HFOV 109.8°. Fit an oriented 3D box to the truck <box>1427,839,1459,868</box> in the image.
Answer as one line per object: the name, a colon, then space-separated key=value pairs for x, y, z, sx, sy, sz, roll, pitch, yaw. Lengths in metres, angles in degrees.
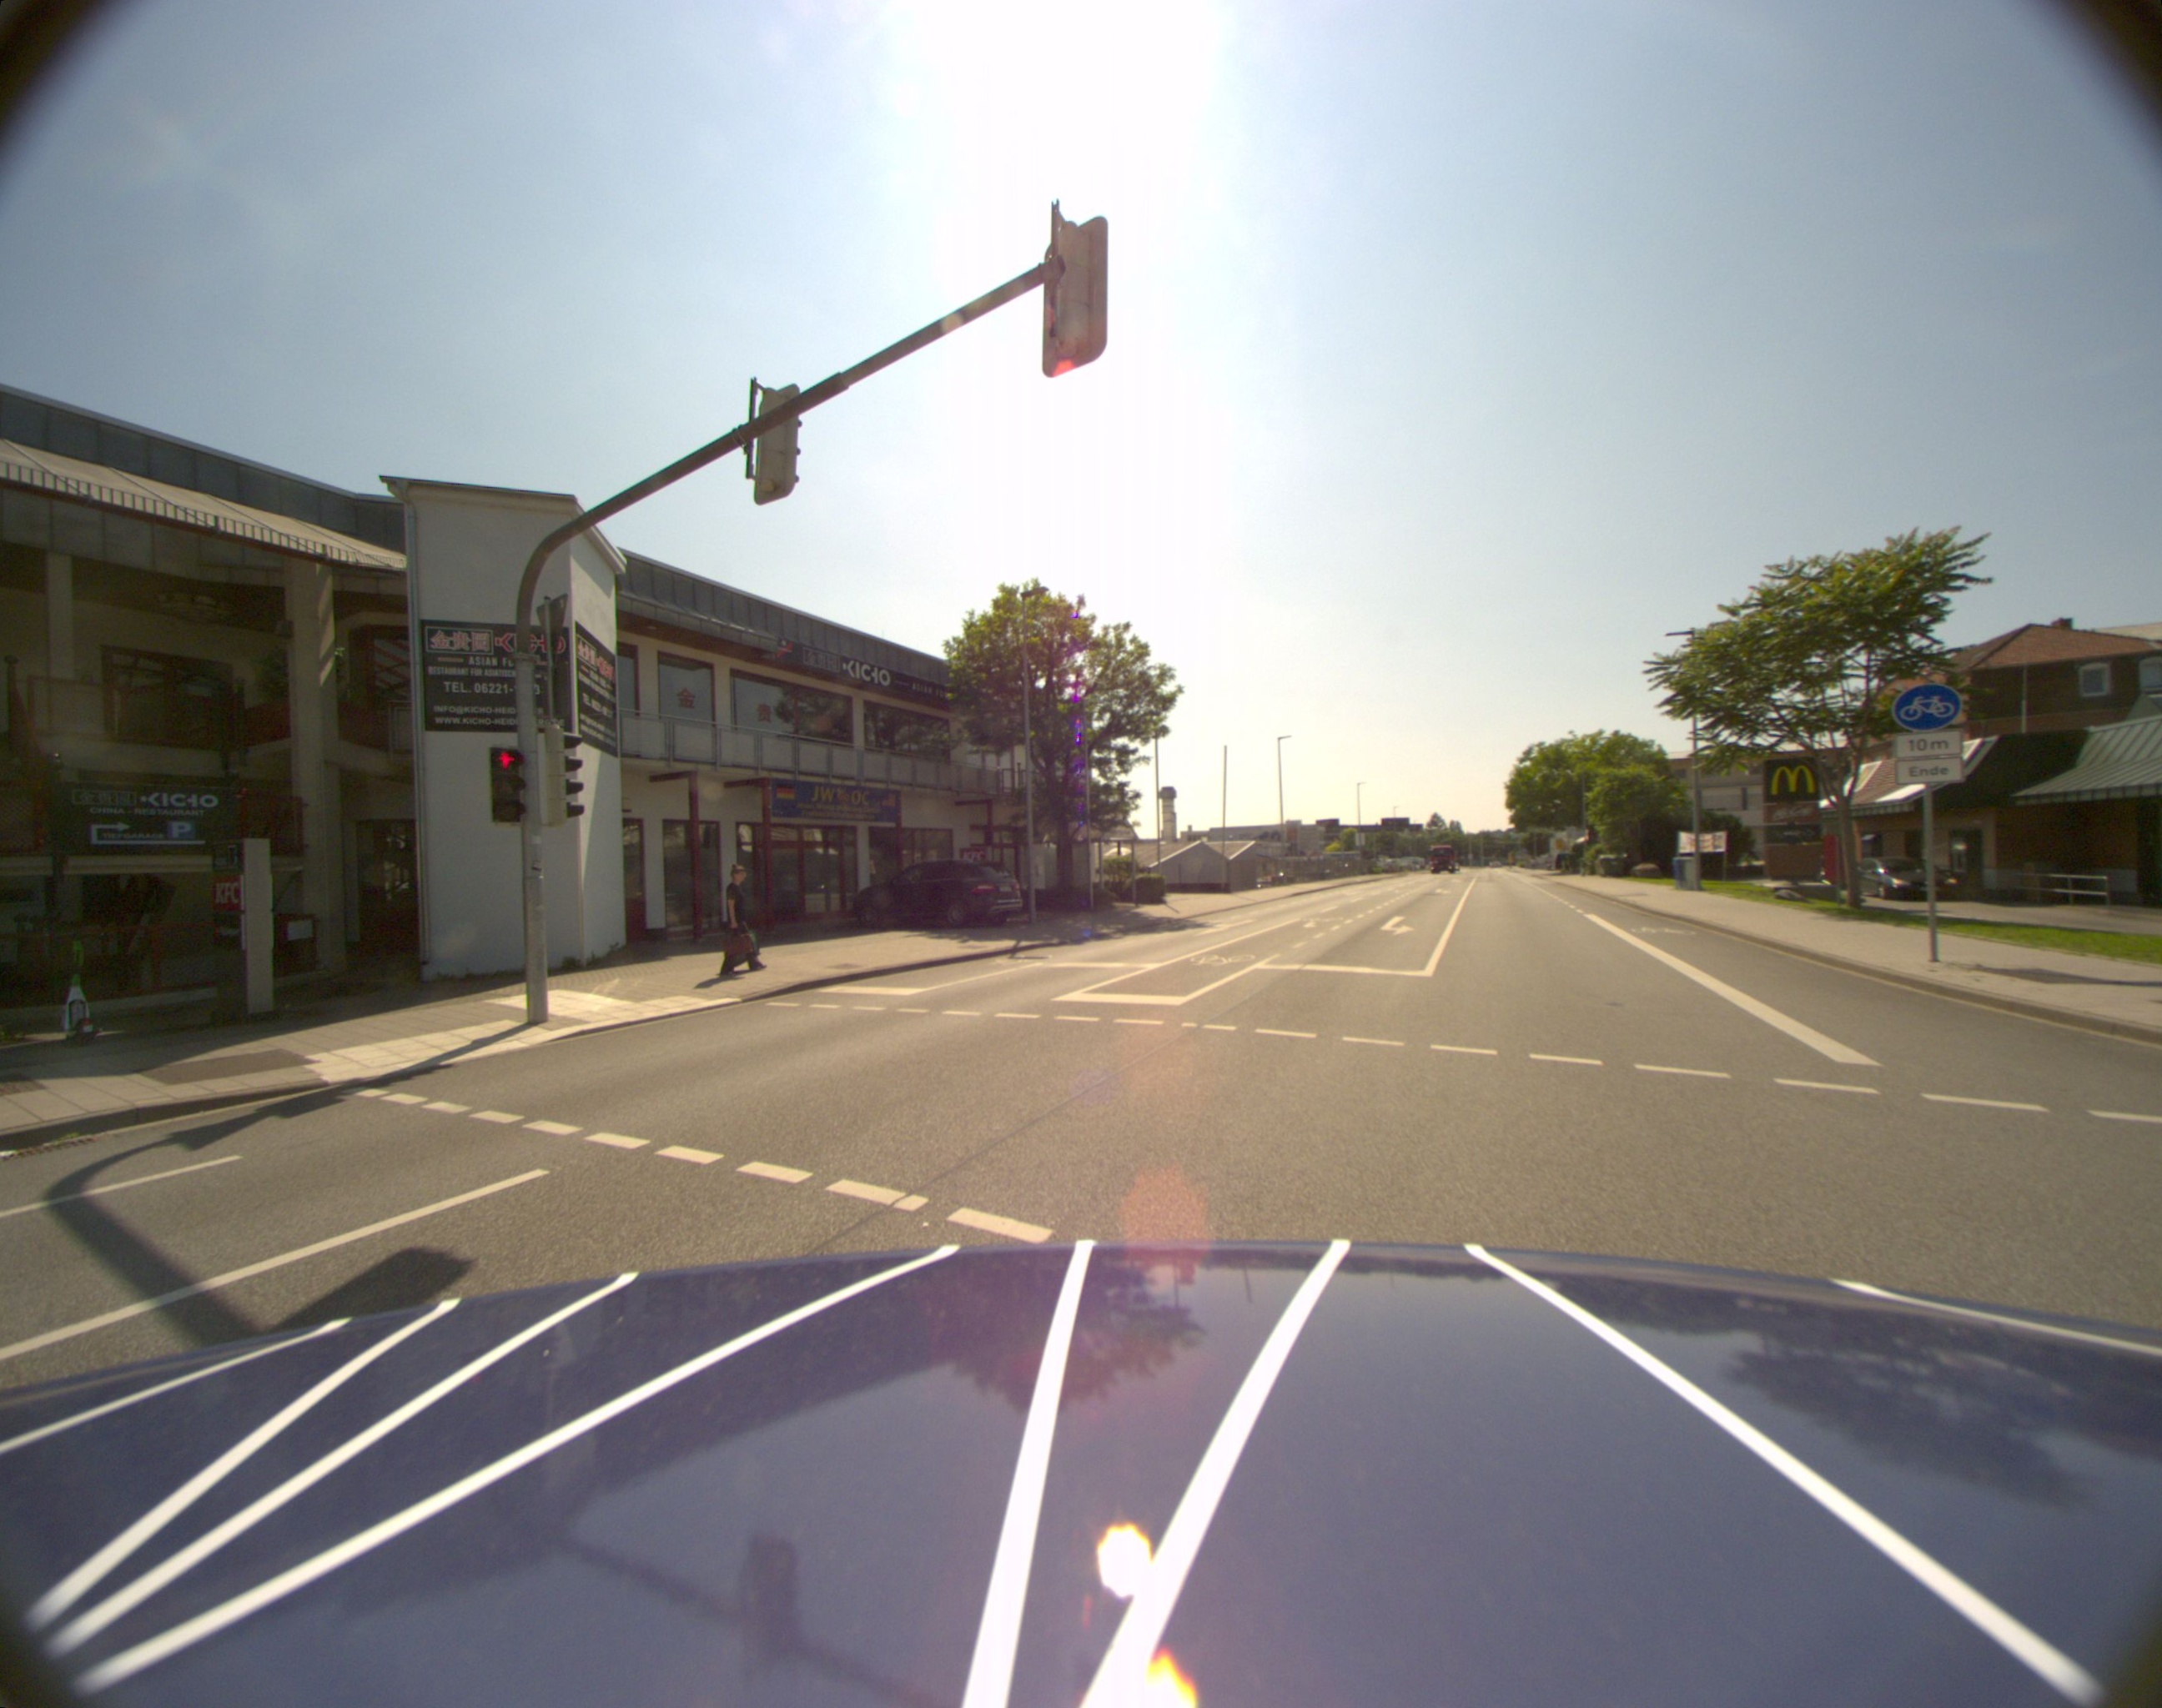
truck: x=45.780 y=-0.080 z=95.934 sx=3.306 sy=3.366 sz=9.184 roll=-2 pitch=0 yaw=27

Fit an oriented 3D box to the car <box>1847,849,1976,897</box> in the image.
car: x=29.343 y=0.636 z=27.022 sx=1.861 sy=1.543 sz=4.196 roll=-2 pitch=0 yaw=30

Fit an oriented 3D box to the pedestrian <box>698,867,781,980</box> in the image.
pedestrian: x=-5.219 y=1.040 z=11.644 sx=0.732 sy=1.636 sz=0.843 roll=-1 pitch=0 yaw=24

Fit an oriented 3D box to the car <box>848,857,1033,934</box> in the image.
car: x=-3.768 y=1.059 z=20.200 sx=4.647 sy=1.844 sz=1.812 roll=-2 pitch=0 yaw=28

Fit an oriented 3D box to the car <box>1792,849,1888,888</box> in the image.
car: x=32.668 y=0.598 z=32.841 sx=1.861 sy=1.543 sz=4.196 roll=-2 pitch=0 yaw=30

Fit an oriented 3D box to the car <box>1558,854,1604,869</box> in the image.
car: x=52.130 y=0.801 z=79.289 sx=3.897 sy=1.390 sz=1.655 roll=-2 pitch=0 yaw=33

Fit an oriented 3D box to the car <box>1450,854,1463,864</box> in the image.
car: x=62.215 y=0.821 z=125.971 sx=1.831 sy=1.652 sz=4.007 roll=-2 pitch=0 yaw=24

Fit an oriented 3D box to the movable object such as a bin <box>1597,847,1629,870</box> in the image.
movable object such as a bin: x=33.380 y=0.291 z=47.677 sx=1.465 sy=1.403 sz=1.458 roll=-2 pitch=0 yaw=28

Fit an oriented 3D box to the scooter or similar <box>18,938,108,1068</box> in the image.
scooter or similar: x=-10.456 y=1.477 z=7.812 sx=1.500 sy=1.117 sz=0.502 roll=-2 pitch=0 yaw=37
